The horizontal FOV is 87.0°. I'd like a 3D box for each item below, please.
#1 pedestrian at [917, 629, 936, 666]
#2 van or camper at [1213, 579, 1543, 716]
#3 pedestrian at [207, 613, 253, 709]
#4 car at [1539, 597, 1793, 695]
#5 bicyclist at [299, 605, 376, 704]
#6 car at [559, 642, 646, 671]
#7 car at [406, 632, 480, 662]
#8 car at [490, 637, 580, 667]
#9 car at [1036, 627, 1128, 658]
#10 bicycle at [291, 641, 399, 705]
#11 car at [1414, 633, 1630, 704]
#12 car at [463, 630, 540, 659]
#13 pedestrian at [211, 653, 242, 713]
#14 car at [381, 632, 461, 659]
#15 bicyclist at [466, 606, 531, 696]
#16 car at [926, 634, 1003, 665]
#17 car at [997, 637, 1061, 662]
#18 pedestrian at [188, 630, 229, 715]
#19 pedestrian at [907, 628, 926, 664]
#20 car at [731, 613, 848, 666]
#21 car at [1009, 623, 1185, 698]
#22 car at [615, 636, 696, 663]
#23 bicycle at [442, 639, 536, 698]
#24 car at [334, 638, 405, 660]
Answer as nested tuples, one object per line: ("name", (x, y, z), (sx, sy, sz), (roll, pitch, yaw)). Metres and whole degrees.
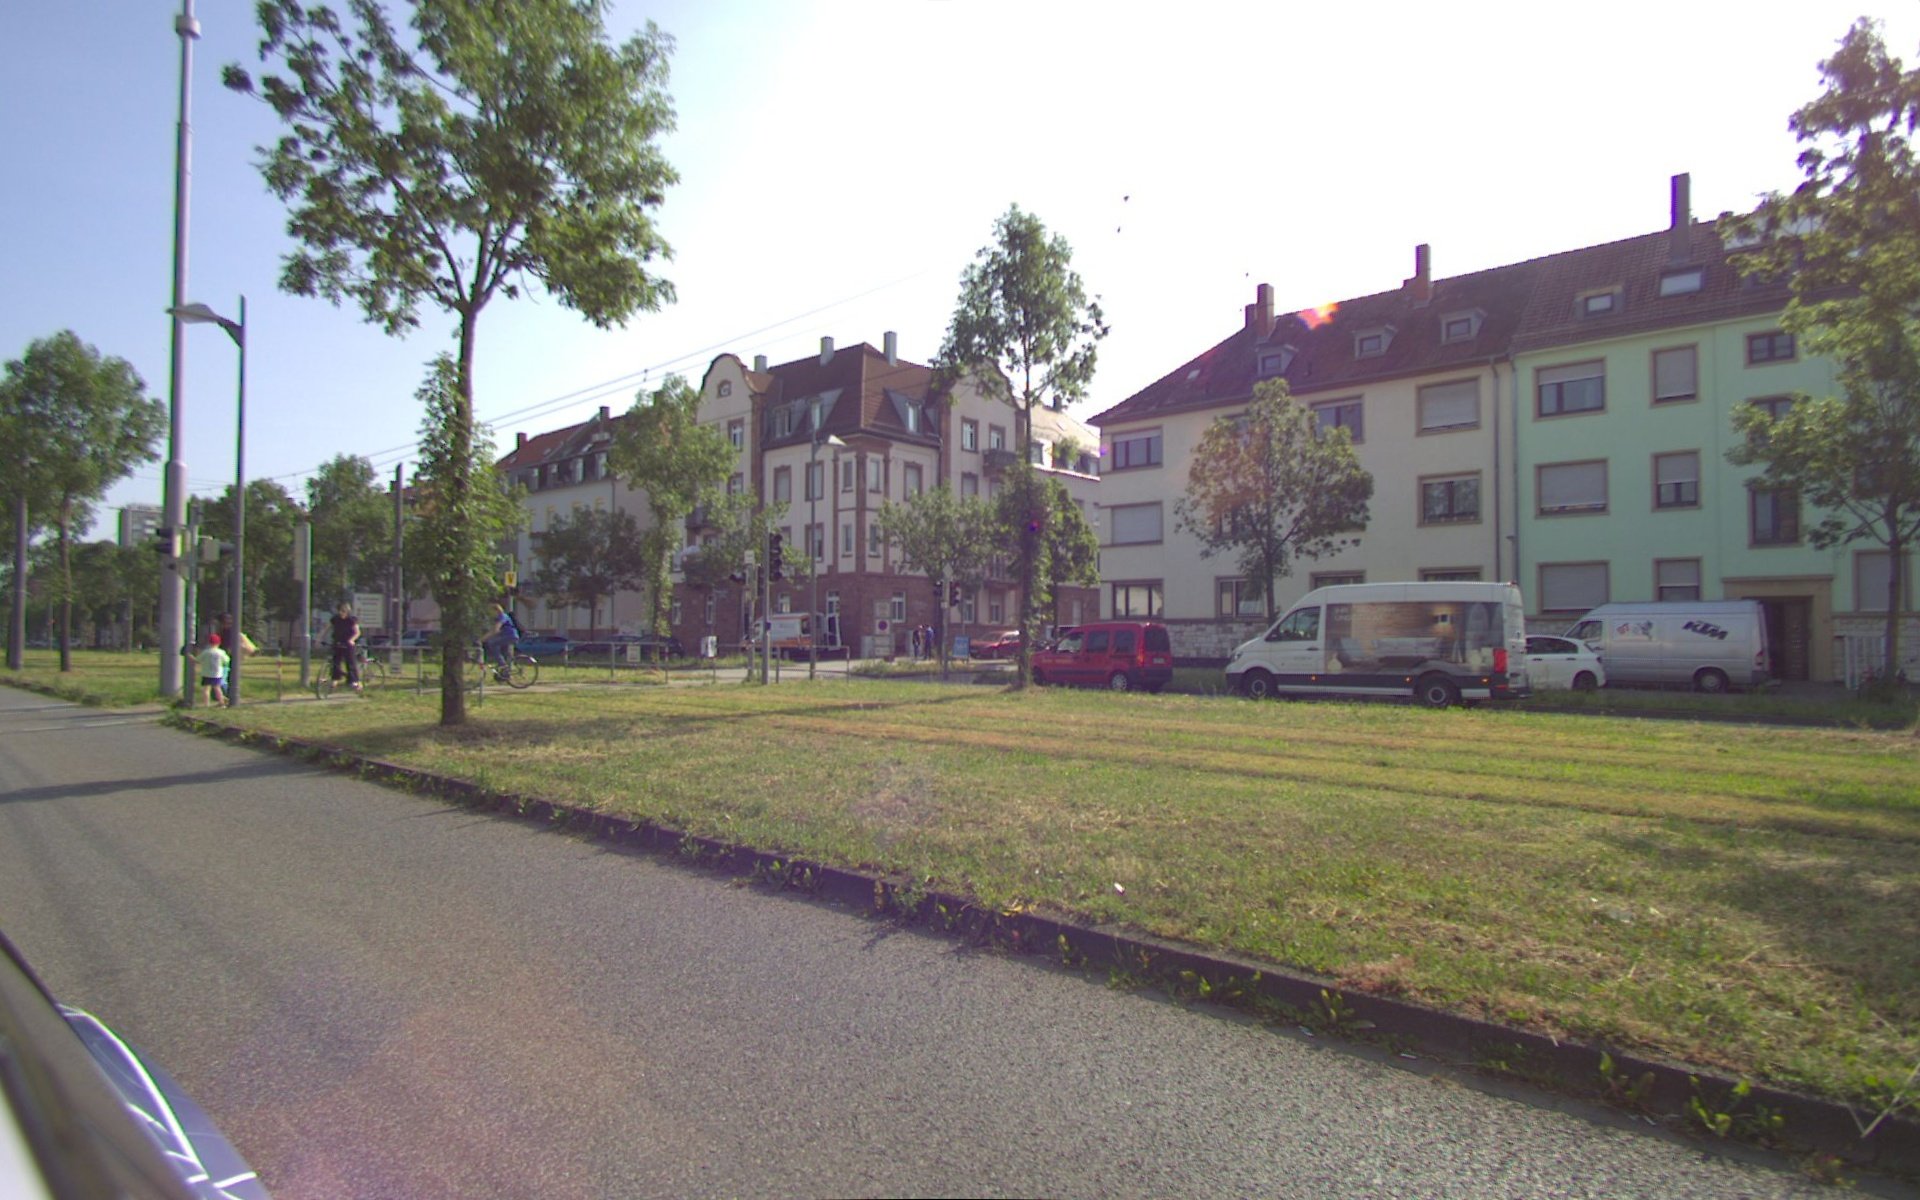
("pedestrian", (-1.617, 2.288, 49.293), (0.632, 1.761, 0.661), (-2, -1, 41))
("van or camper", (8.590, 0.979, 21.255), (6.055, 2.493, 2.119), (-1, -4, 41))
("pedestrian", (-12.738, 1.052, 17.663), (0.601, 1.616, 0.737), (2, -3, -36))
("car", (19.536, 1.220, 28.196), (5.577, 2.482, 1.972), (-1, -1, 42))
("bicyclist", (-11.874, 1.033, 19.323), (0.902, 1.836, 0.865), (-1, -2, 21))
("car", (-18.817, 2.945, 53.466), (4.269, 1.336, 2.006), (-1, -1, -18))
("car", (-32.348, 2.917, 63.380), (3.931, 1.719, 1.881), (-1, -1, -20))
("car", (-23.462, 2.850, 56.043), (4.438, 1.451, 2.006), (-1, -1, -18))
("car", (6.061, 2.097, 50.068), (4.447, 1.482, 1.603), (-1, -3, 10))
("bicycle", (-11.807, 1.376, 19.492), (0.573, 1.154, 1.738), (-1, -2, 24))
("car", (13.409, 1.583, 24.240), (4.295, 1.486, 1.862), (-1, -1, -12))
("car", (-27.268, 2.616, 60.300), (3.994, 1.566, 1.922), (-1, -1, -18))
("pedestrian", (-12.422, 1.391, 17.145), (0.405, 0.989, 0.421), (1, -3, -35))
("car", (-35.496, 2.991, 66.820), (4.424, 1.617, 2.006), (-1, -1, -20))
("bicyclist", (-9.899, 1.067, 21.706), (1.168, 1.864, 0.913), (0, -1, -31))
("car", (0.267, 2.658, 54.785), (2.000, 1.475, 3.943), (-2, -1, 43))
("car", (4.071, 2.855, 59.163), (1.735, 1.295, 3.842), (-2, -1, 43))
("pedestrian", (-12.333, 1.175, 16.614), (0.449, 1.368, 0.550), (1, -3, -30))
("pedestrian", (-2.161, 2.266, 50.077), (0.632, 1.761, 0.661), (-2, -1, 41))
("car", (-8.953, 2.024, 52.863), (6.501, 2.583, 2.325), (-1, -1, 39))
("car", (3.434, 1.515, 25.839), (4.160, 1.751, 1.796), (-2, -4, 42))
("car", (-15.028, 2.427, 49.950), (3.784, 1.136, 1.774), (-1, -1, -18))
("bicycle", (-10.035, 1.433, 21.589), (1.763, 1.154, 0.578), (0, -1, -32))
("car", (-45.052, 3.743, 77.349), (4.424, 1.502, 2.006), (-1, -1, -20))
